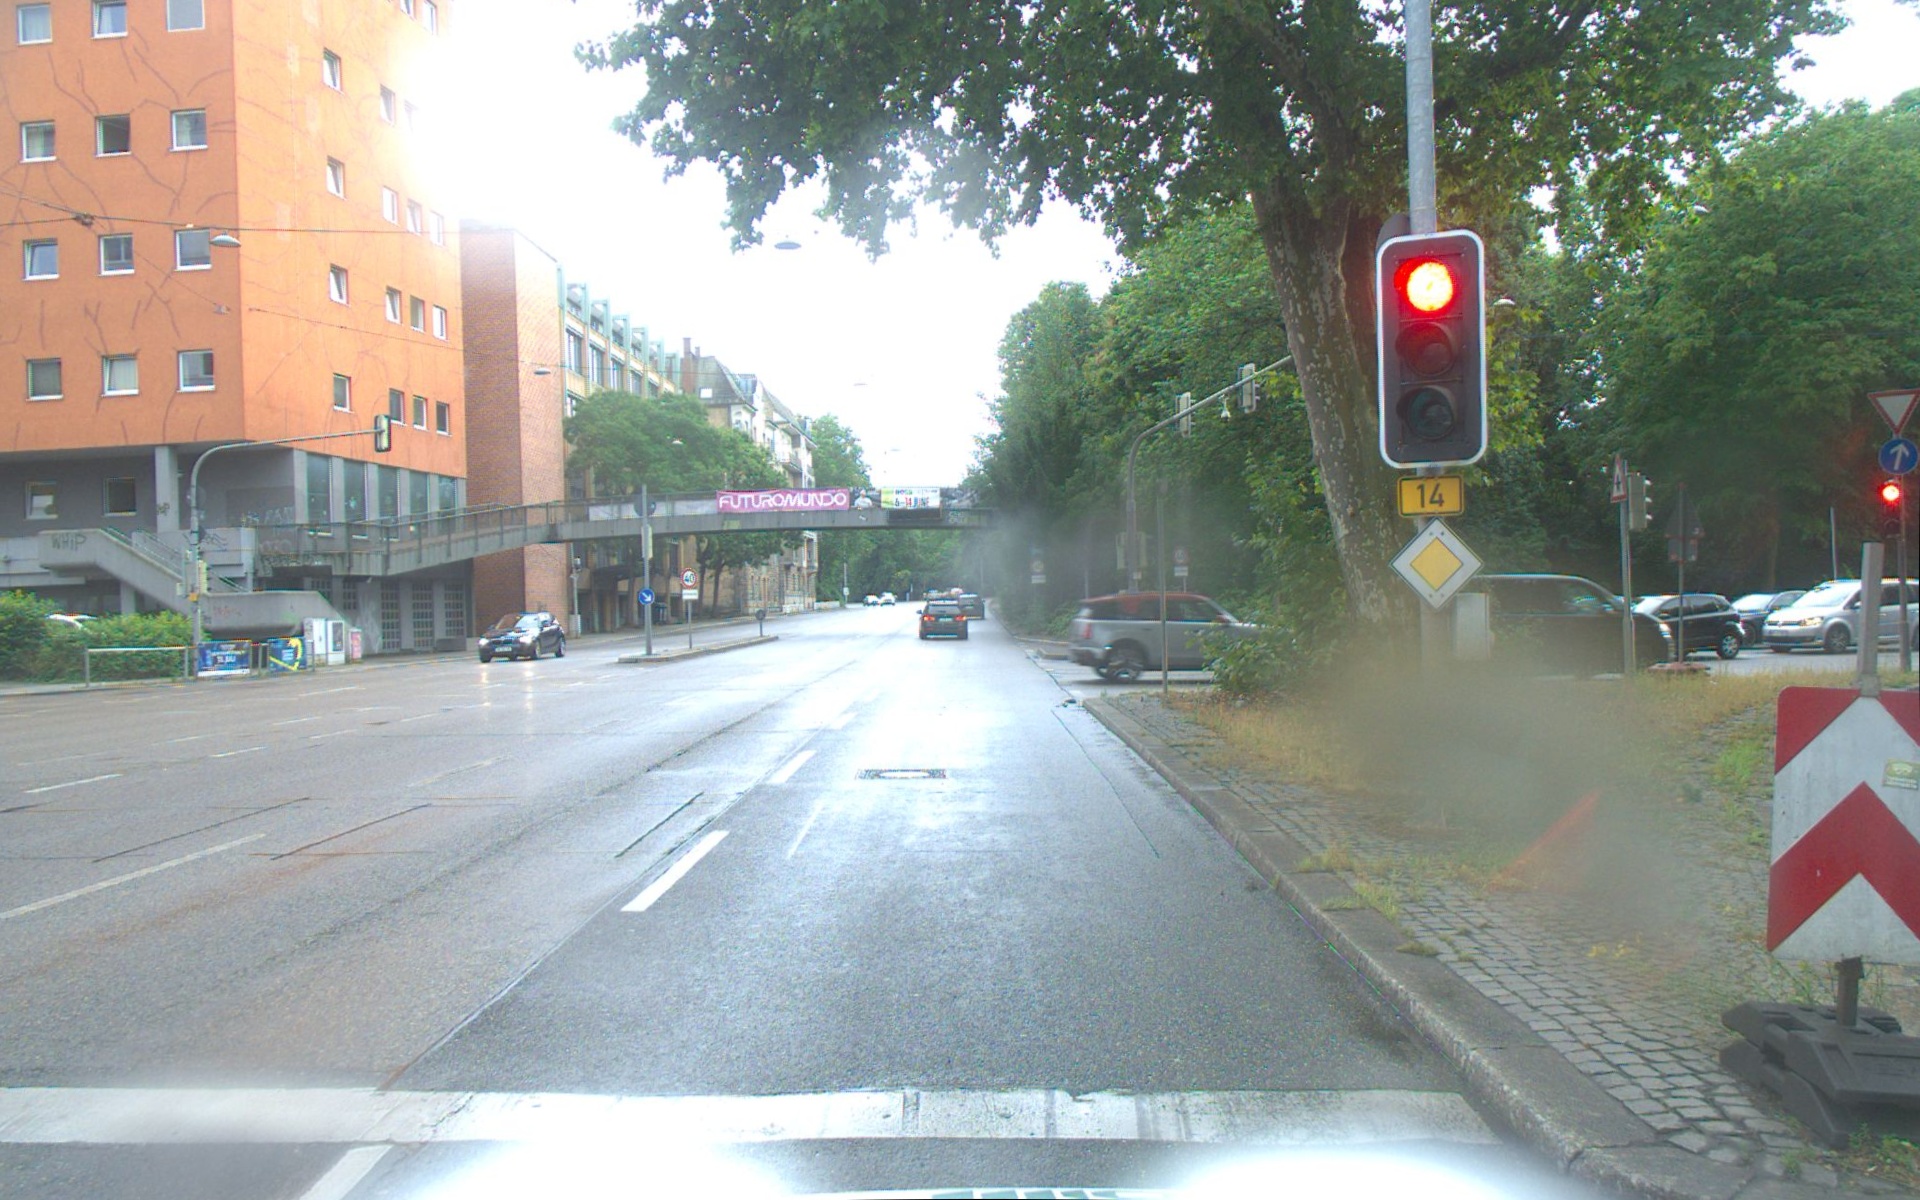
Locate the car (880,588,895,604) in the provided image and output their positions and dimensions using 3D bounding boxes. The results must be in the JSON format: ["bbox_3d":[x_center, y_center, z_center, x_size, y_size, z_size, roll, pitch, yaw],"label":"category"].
[{"bbox_3d":[-9.351,-0.529,214.426,1.728,1.959,3.704,-3,0,-1],"label":"car"}]

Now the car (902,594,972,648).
[{"bbox_3d":[-0.928,0.791,63.181,2.089,1.868,4.345,-3,0,-8],"label":"car"}]

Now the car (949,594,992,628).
[{"bbox_3d":[0.607,0.677,98.869,2.088,1.868,4.348,-3,0,-5],"label":"car"}]

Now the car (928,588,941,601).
[{"bbox_3d":[-3.447,-0.726,223.406,1.728,1.726,3.705,-3,0,-1],"label":"car"}]

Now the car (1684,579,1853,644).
[{"bbox_3d":[20.438,0.273,41.831,3.768,1.512,1.734,-1,0,-21],"label":"car"}]

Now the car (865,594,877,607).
[{"bbox_3d":[-12.708,0.068,236.191,1.586,1.726,3.548,-3,0,-1],"label":"car"}]

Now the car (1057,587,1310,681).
[{"bbox_3d":[4.165,0.617,31.215,4.422,1.666,1.879,-1,0,-5],"label":"car"}]

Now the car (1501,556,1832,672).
[{"bbox_3d":[12.289,0.235,28.961,4.977,1.878,1.998,-1,0,-6],"label":"car"}]

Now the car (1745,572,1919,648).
[{"bbox_3d":[20.688,0.223,38.547,4.193,1.512,1.766,-3,0,-17],"label":"car"}]

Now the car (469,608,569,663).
[{"bbox_3d":[-13.420,1.052,50.571,1.953,1.545,3.999,-2,0,0],"label":"car"}]

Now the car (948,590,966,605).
[{"bbox_3d":[-0.347,-0.321,208.435,2.078,1.765,4.196,0,1,-3],"label":"car"}]

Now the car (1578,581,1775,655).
[{"bbox_3d":[15.800,0.392,36.527,3.791,1.511,1.665,-1,-1,-16],"label":"car"}]

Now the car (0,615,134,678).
[{"bbox_3d":[-26.927,1.384,49.001,3.929,1.646,1.896,-3,0,8],"label":"car"}]
